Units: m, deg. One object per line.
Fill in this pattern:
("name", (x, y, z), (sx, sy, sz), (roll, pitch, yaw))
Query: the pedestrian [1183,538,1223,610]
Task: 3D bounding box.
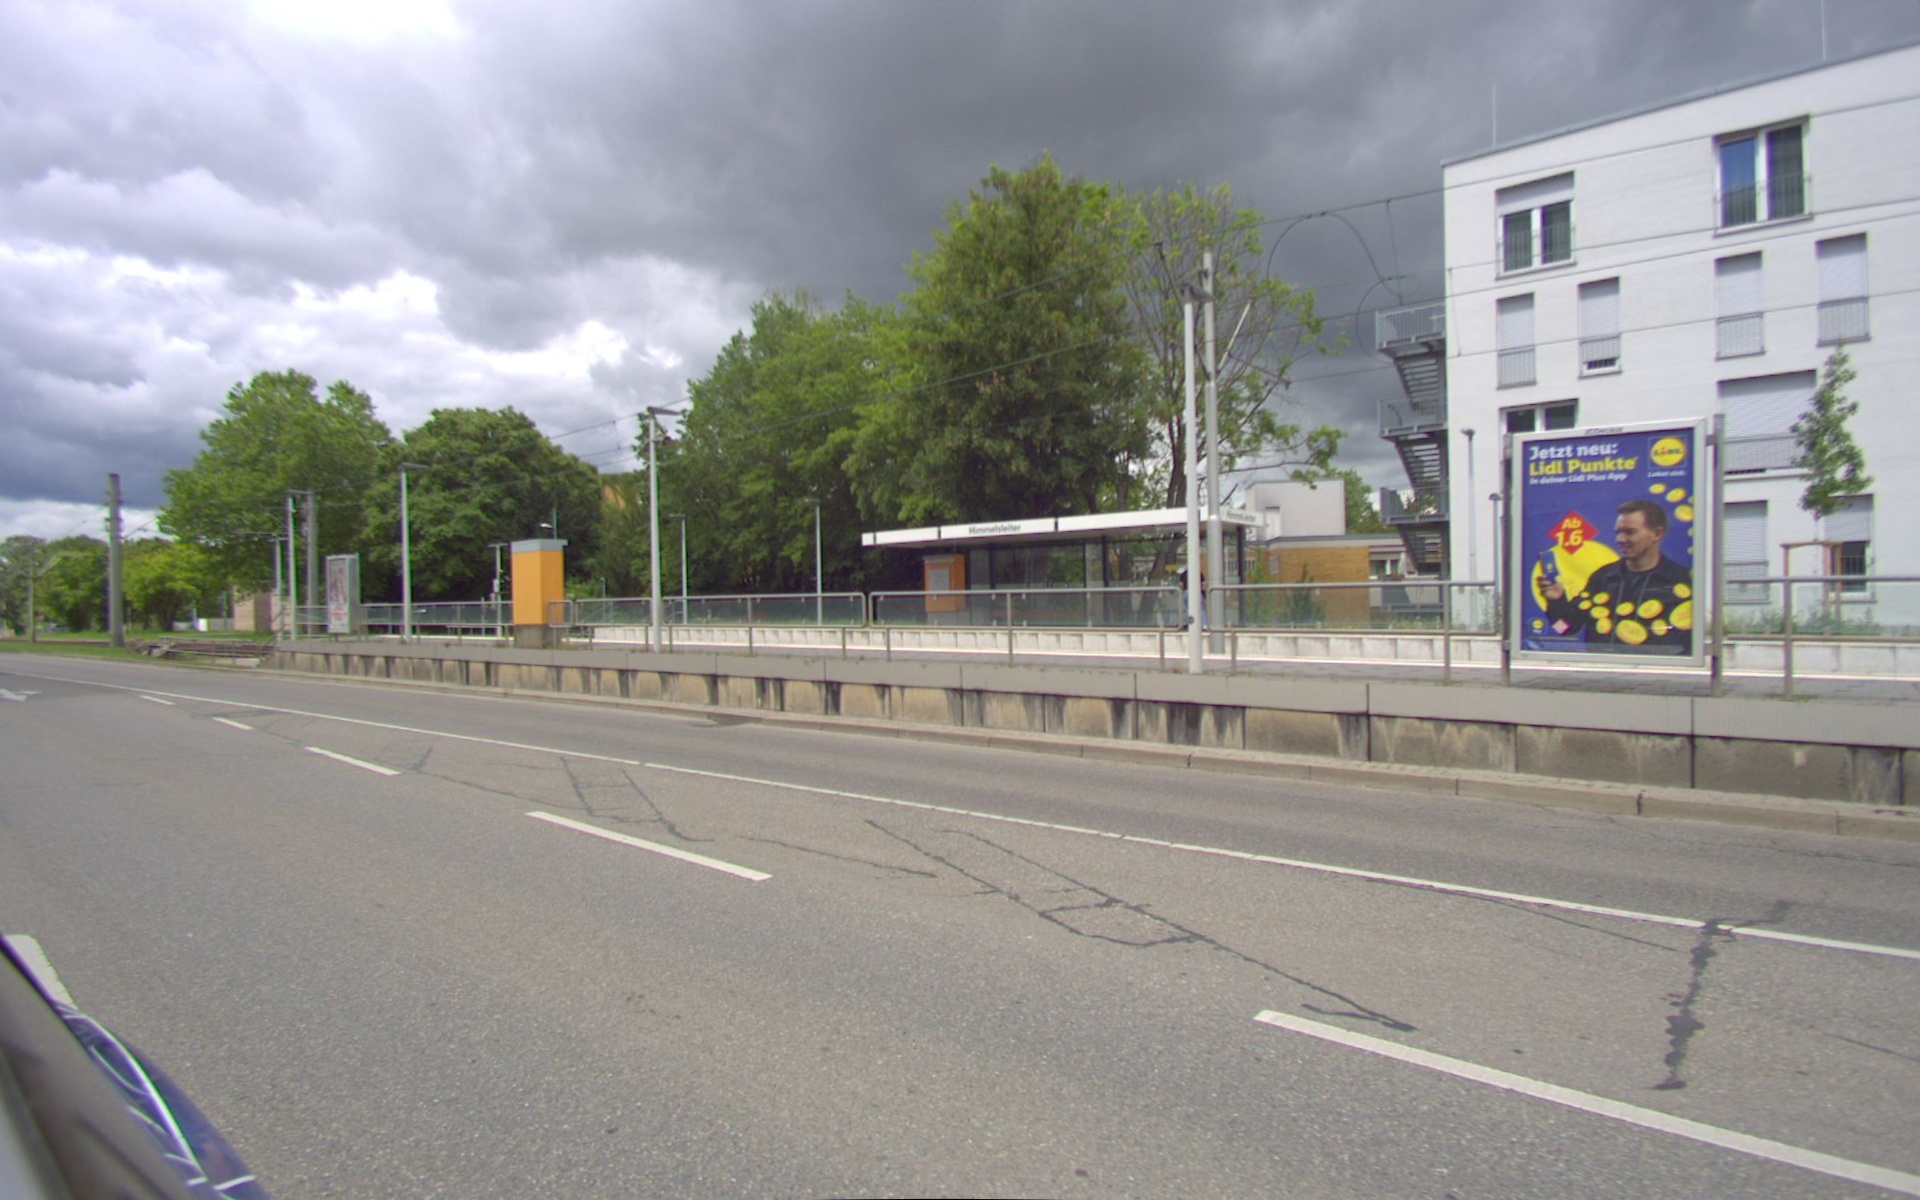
("pedestrian", (5.328, -0.565, 22.193), (0.547, 1.542, 0.733), (-1, 0, 42))
